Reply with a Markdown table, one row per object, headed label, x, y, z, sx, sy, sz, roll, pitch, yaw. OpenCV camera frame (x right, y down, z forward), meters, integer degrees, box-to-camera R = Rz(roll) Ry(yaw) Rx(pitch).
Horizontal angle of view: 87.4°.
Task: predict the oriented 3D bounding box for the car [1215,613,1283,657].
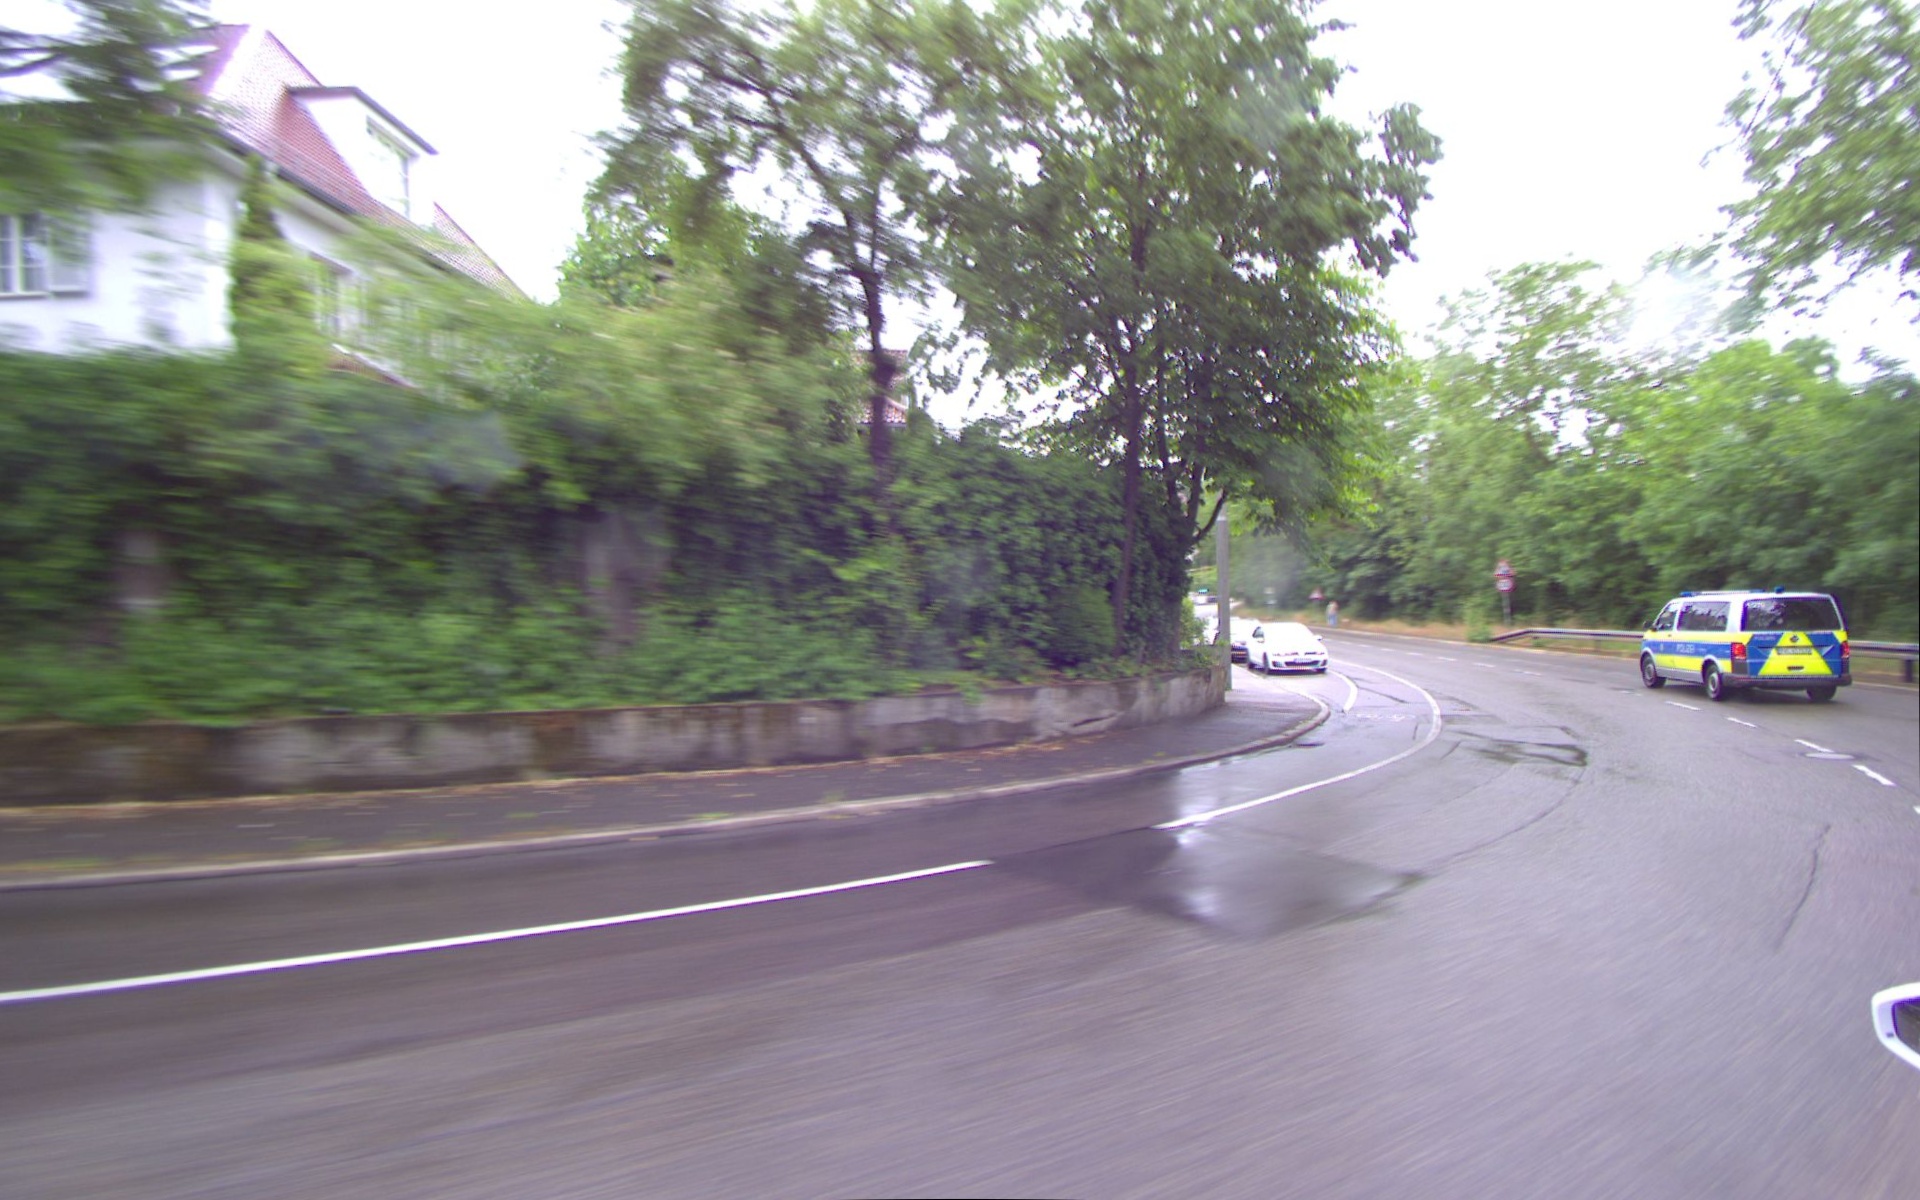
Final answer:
| label | x | y | z | sx | sy | sz | roll | pitch | yaw |
| --- | --- | --- | --- | --- | --- | --- | --- | --- | --- |
| car | 10.494 | 1.241 | 36.734 | 1.776 | 1.358 | 4.255 | 0 | 1 | 8 |

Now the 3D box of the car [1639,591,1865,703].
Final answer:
| label | x | y | z | sx | sy | sz | roll | pitch | yaw |
| --- | --- | --- | --- | --- | --- | --- | --- | --- | --- |
| car | 15.243 | 0.893 | 19.695 | 1.960 | 1.918 | 4.572 | 0 | -2 | 18 |

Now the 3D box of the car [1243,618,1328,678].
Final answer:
| label | x | y | z | sx | sy | sz | roll | pitch | yaw |
| --- | --- | --- | --- | --- | --- | --- | --- | --- | --- |
| car | 10.009 | 1.422 | 31.178 | 1.776 | 1.359 | 4.254 | 0 | 4 | 8 |

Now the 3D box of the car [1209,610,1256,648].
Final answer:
| label | x | y | z | sx | sy | sz | roll | pitch | yaw |
| --- | --- | --- | --- | --- | --- | --- | --- | --- | --- |
| car | 11.282 | 1.186 | 41.796 | 1.776 | 1.358 | 4.255 | 0 | 1 | 14 |
